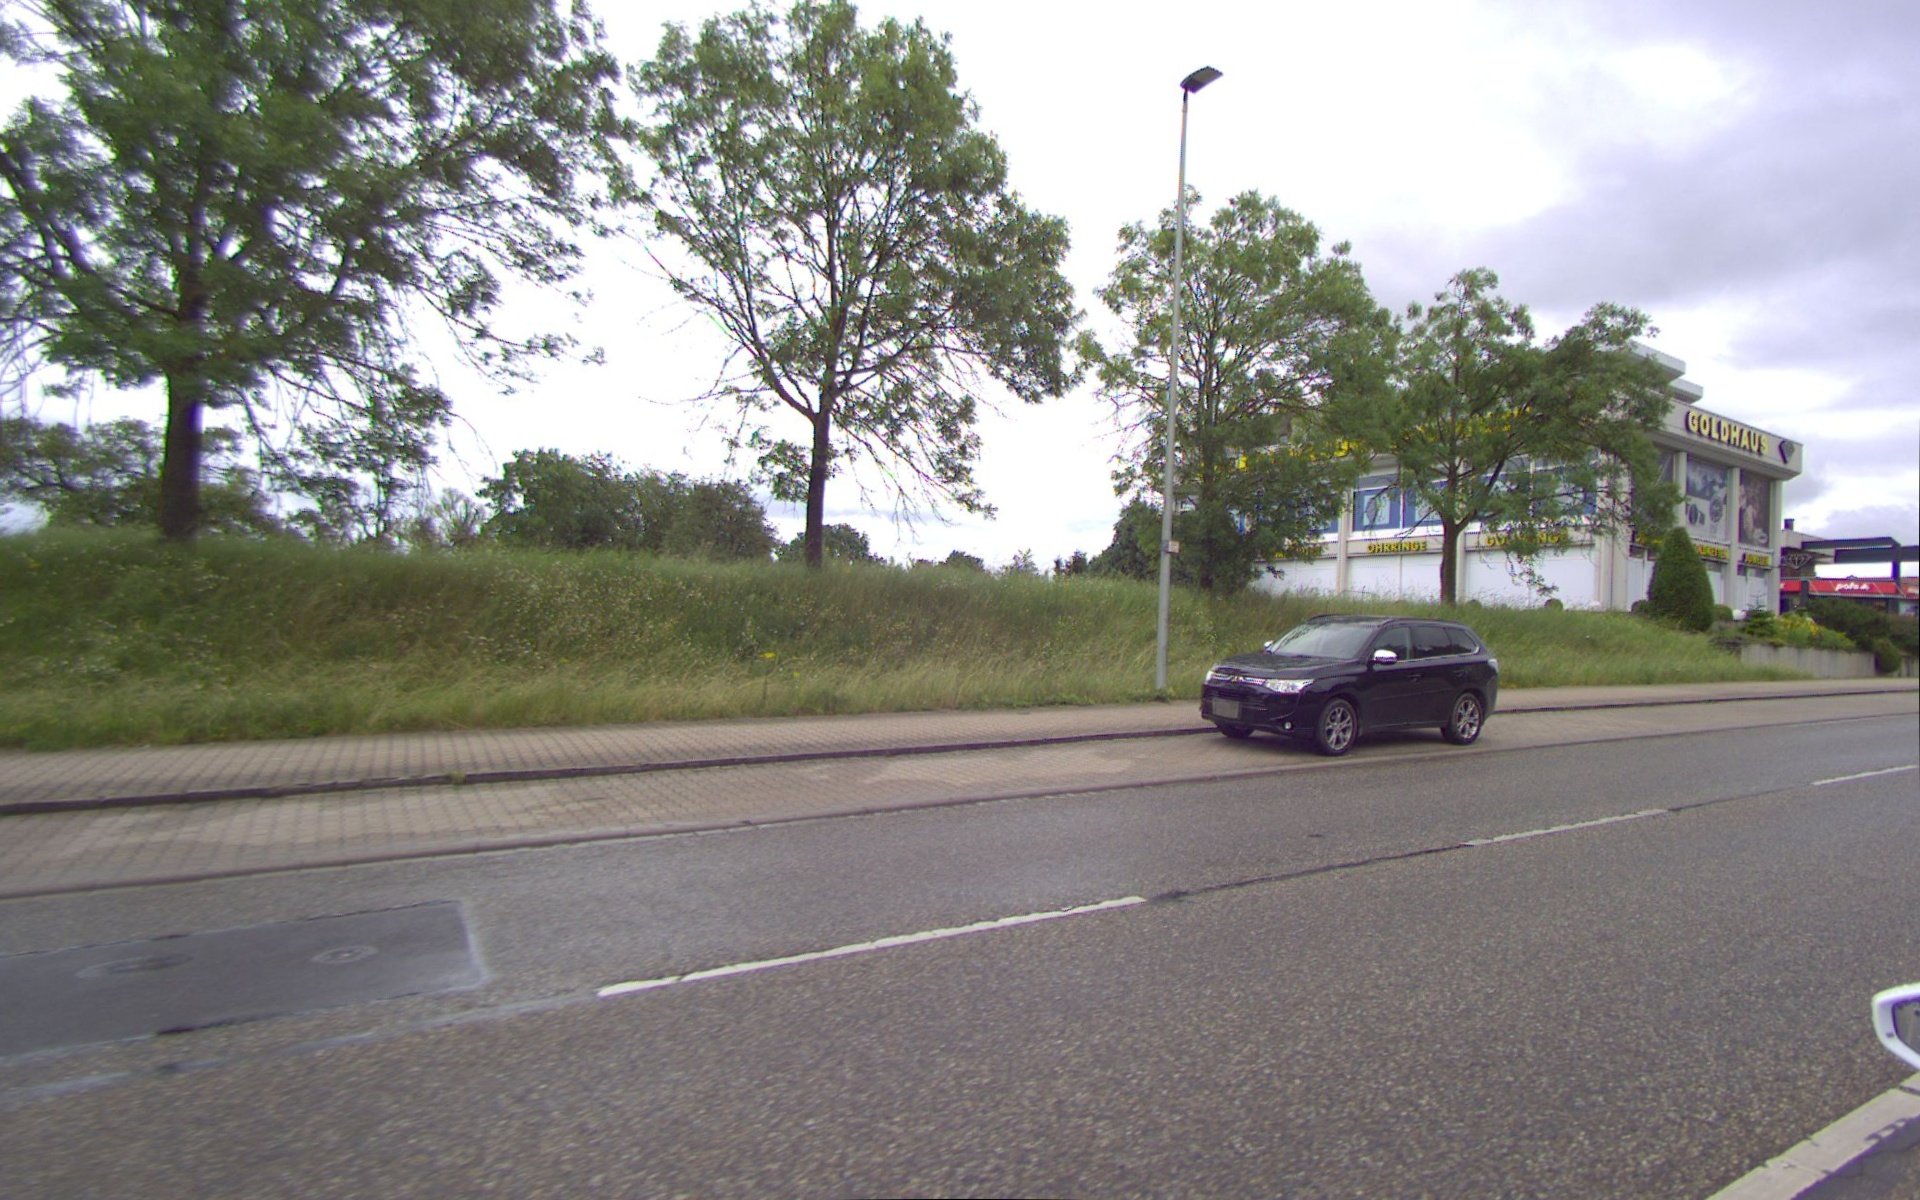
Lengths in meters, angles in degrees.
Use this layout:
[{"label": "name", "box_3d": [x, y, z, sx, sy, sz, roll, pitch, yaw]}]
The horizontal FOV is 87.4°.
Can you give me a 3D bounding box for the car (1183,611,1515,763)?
[{"label": "car", "box_3d": [5.241, 1.039, 13.370, 4.435, 1.690, 1.717, 1, 1, -30]}]
